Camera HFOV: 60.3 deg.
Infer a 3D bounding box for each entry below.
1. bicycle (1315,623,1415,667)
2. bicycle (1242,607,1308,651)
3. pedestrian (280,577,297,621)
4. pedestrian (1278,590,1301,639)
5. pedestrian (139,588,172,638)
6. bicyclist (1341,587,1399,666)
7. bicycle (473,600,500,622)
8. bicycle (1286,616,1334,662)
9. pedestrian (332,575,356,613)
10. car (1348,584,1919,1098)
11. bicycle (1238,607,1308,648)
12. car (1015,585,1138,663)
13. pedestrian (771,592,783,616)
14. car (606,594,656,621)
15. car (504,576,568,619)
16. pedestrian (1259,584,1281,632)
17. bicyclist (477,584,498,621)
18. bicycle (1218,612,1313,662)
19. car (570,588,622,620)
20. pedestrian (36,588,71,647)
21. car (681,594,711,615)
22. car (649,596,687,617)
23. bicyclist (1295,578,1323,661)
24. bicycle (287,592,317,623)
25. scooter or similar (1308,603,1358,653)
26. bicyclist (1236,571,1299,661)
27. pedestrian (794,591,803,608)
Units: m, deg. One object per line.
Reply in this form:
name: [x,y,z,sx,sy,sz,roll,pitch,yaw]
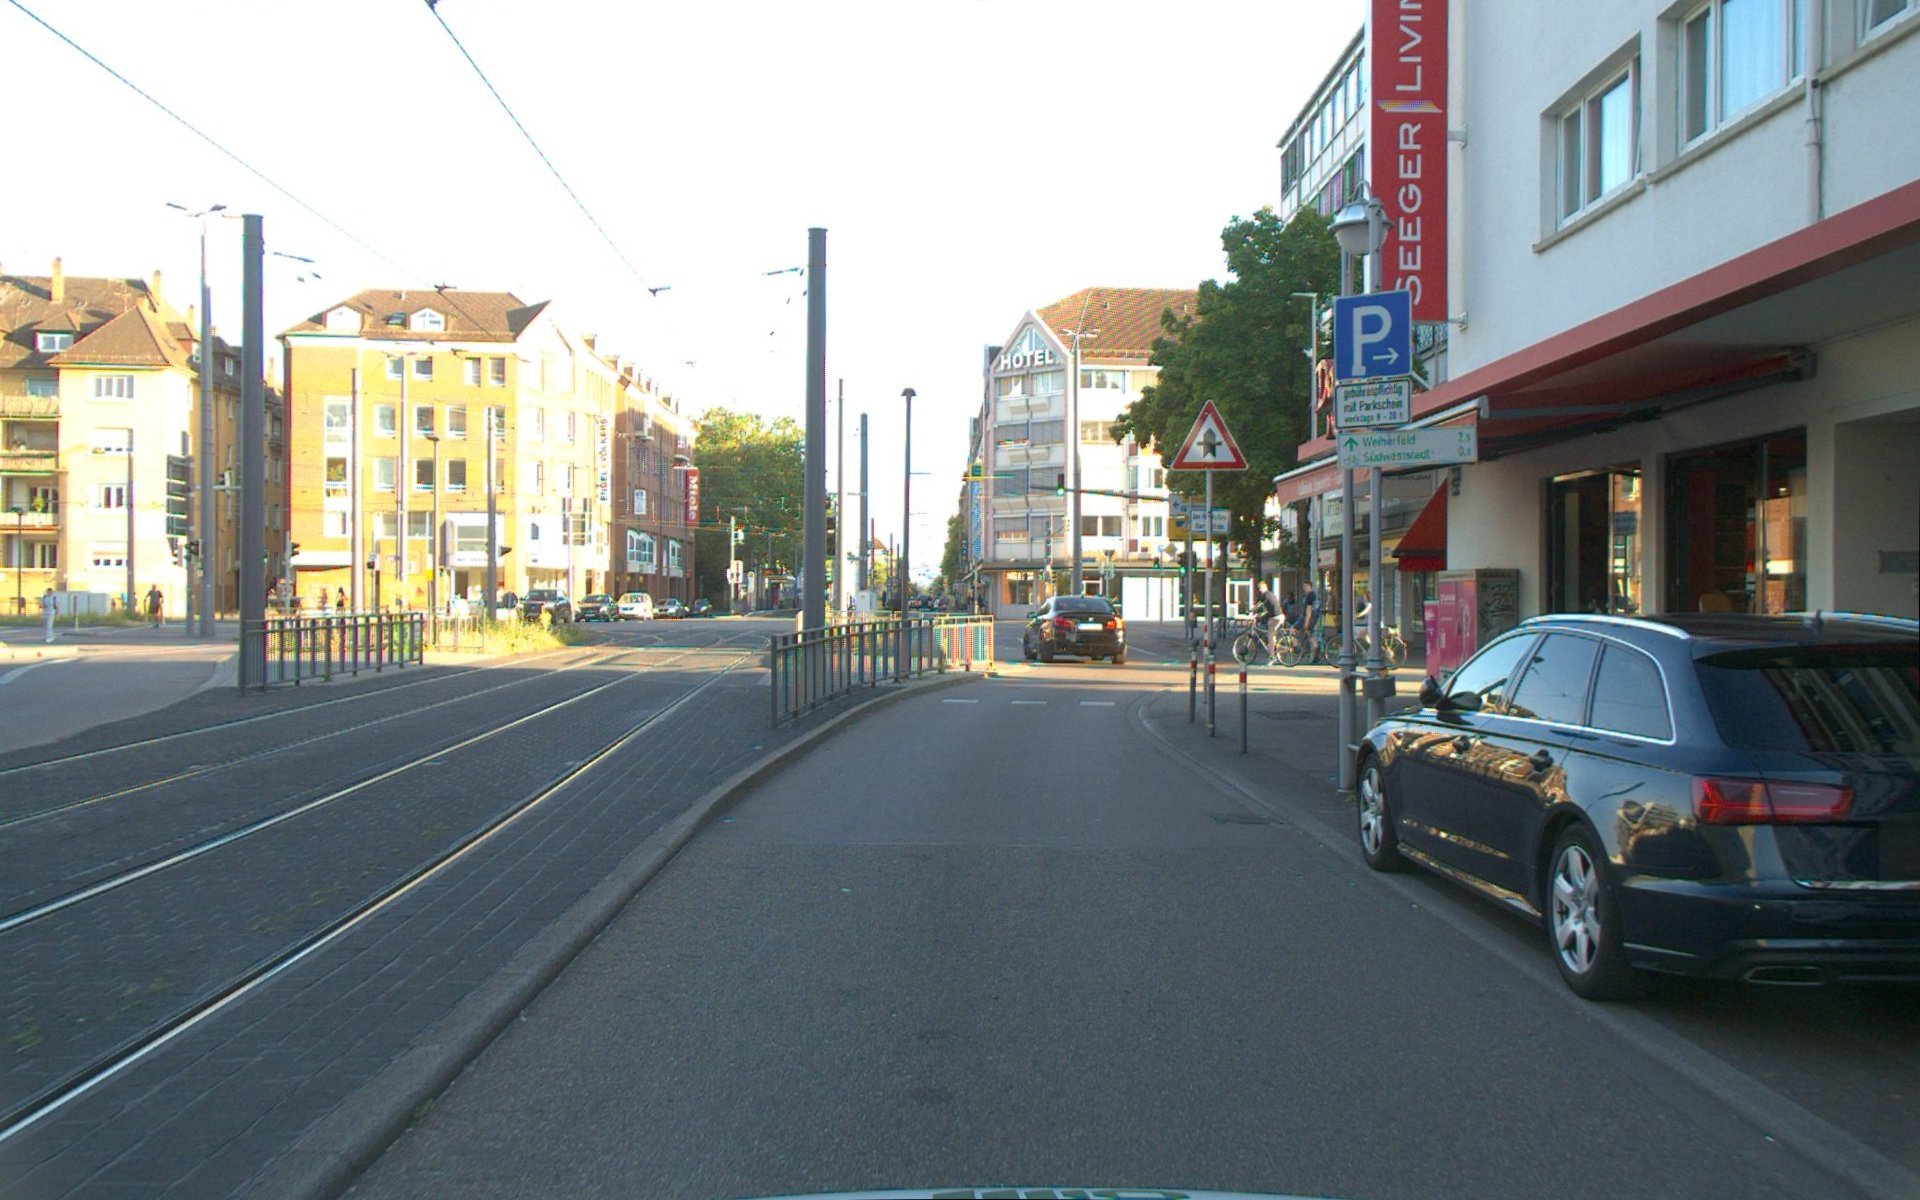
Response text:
bicycle: [8.629,0.954,35.255,1.965,0.896,0.840,0,0,23]
bicycle: [9.135,0.836,48.046,1.863,1.257,0.669,0,0,10]
pedestrian: [-29.442,-0.042,72.496,0.492,1.900,0.562,2,0,-6]
pedestrian: [11.670,0.512,58.516,0.708,1.696,0.671,0,0,2]
pedestrian: [-32.152,0.498,66.086,1.080,1.978,1.019,0,0,-20]
bicyclist: [8.733,0.543,35.212,1.089,1.651,0.840,0,0,23]
bicycle: [-22.173,0.495,77.501,0.652,1.026,1.624,0,0,5]
bicycle: [7.881,0.864,37.273,0.456,0.987,1.797,0,0,-9]
pedestrian: [-31.239,-0.289,83.892,0.923,1.900,0.837,2,0,-10]
car: [3.170,0.721,7.412,1.700,1.538,4.685,-1,0,0]
bicycle: [8.914,0.782,47.089,1.954,1.130,0.669,0,0,12]
car: [2.503,0.484,36.502,1.956,1.612,3.994,0,0,-7]
pedestrian: [-15.625,0.325,141.301,0.968,2.049,0.725,2,0,-2]
car: [-19.688,0.422,99.093,1.952,1.612,4.115,0,0,3]
car: [-19.442,-0.116,76.052,1.954,1.934,4.808,0,0,-3]
pedestrian: [10.920,0.274,58.204,0.670,1.696,0.671,0,0,2]
bicyclist: [-22.168,0.101,77.595,0.648,1.718,0.980,0,0,6]
bicycle: [6.689,0.791,36.297,0.832,1.038,2.049,0,0,-38]
car: [-18.993,0.197,86.455,1.954,1.612,4.584,0,0,-3]
pedestrian: [-29.295,0.561,53.488,0.870,1.900,0.970,0,0,-22]
car: [-21.000,0.331,131.795,1.954,1.612,4.476,0,0,-3]
car: [-20.798,0.428,117.863,1.634,1.473,4.204,0,0,5]
bicyclist: [7.872,0.441,37.320,0.456,1.862,0.558,0,0,-9]
bicycle: [-28.903,0.323,72.672,0.606,1.348,2.014,2,0,-5]
scooter or similar: [9.611,0.714,42.660,1.255,1.256,0.336,0,0,41]
bicyclist: [6.736,0.338,36.239,0.832,1.951,1.100,0,0,-38]
pedestrian: [-16.214,-0.021,166.162,0.708,1.710,0.991,0,0,1]
